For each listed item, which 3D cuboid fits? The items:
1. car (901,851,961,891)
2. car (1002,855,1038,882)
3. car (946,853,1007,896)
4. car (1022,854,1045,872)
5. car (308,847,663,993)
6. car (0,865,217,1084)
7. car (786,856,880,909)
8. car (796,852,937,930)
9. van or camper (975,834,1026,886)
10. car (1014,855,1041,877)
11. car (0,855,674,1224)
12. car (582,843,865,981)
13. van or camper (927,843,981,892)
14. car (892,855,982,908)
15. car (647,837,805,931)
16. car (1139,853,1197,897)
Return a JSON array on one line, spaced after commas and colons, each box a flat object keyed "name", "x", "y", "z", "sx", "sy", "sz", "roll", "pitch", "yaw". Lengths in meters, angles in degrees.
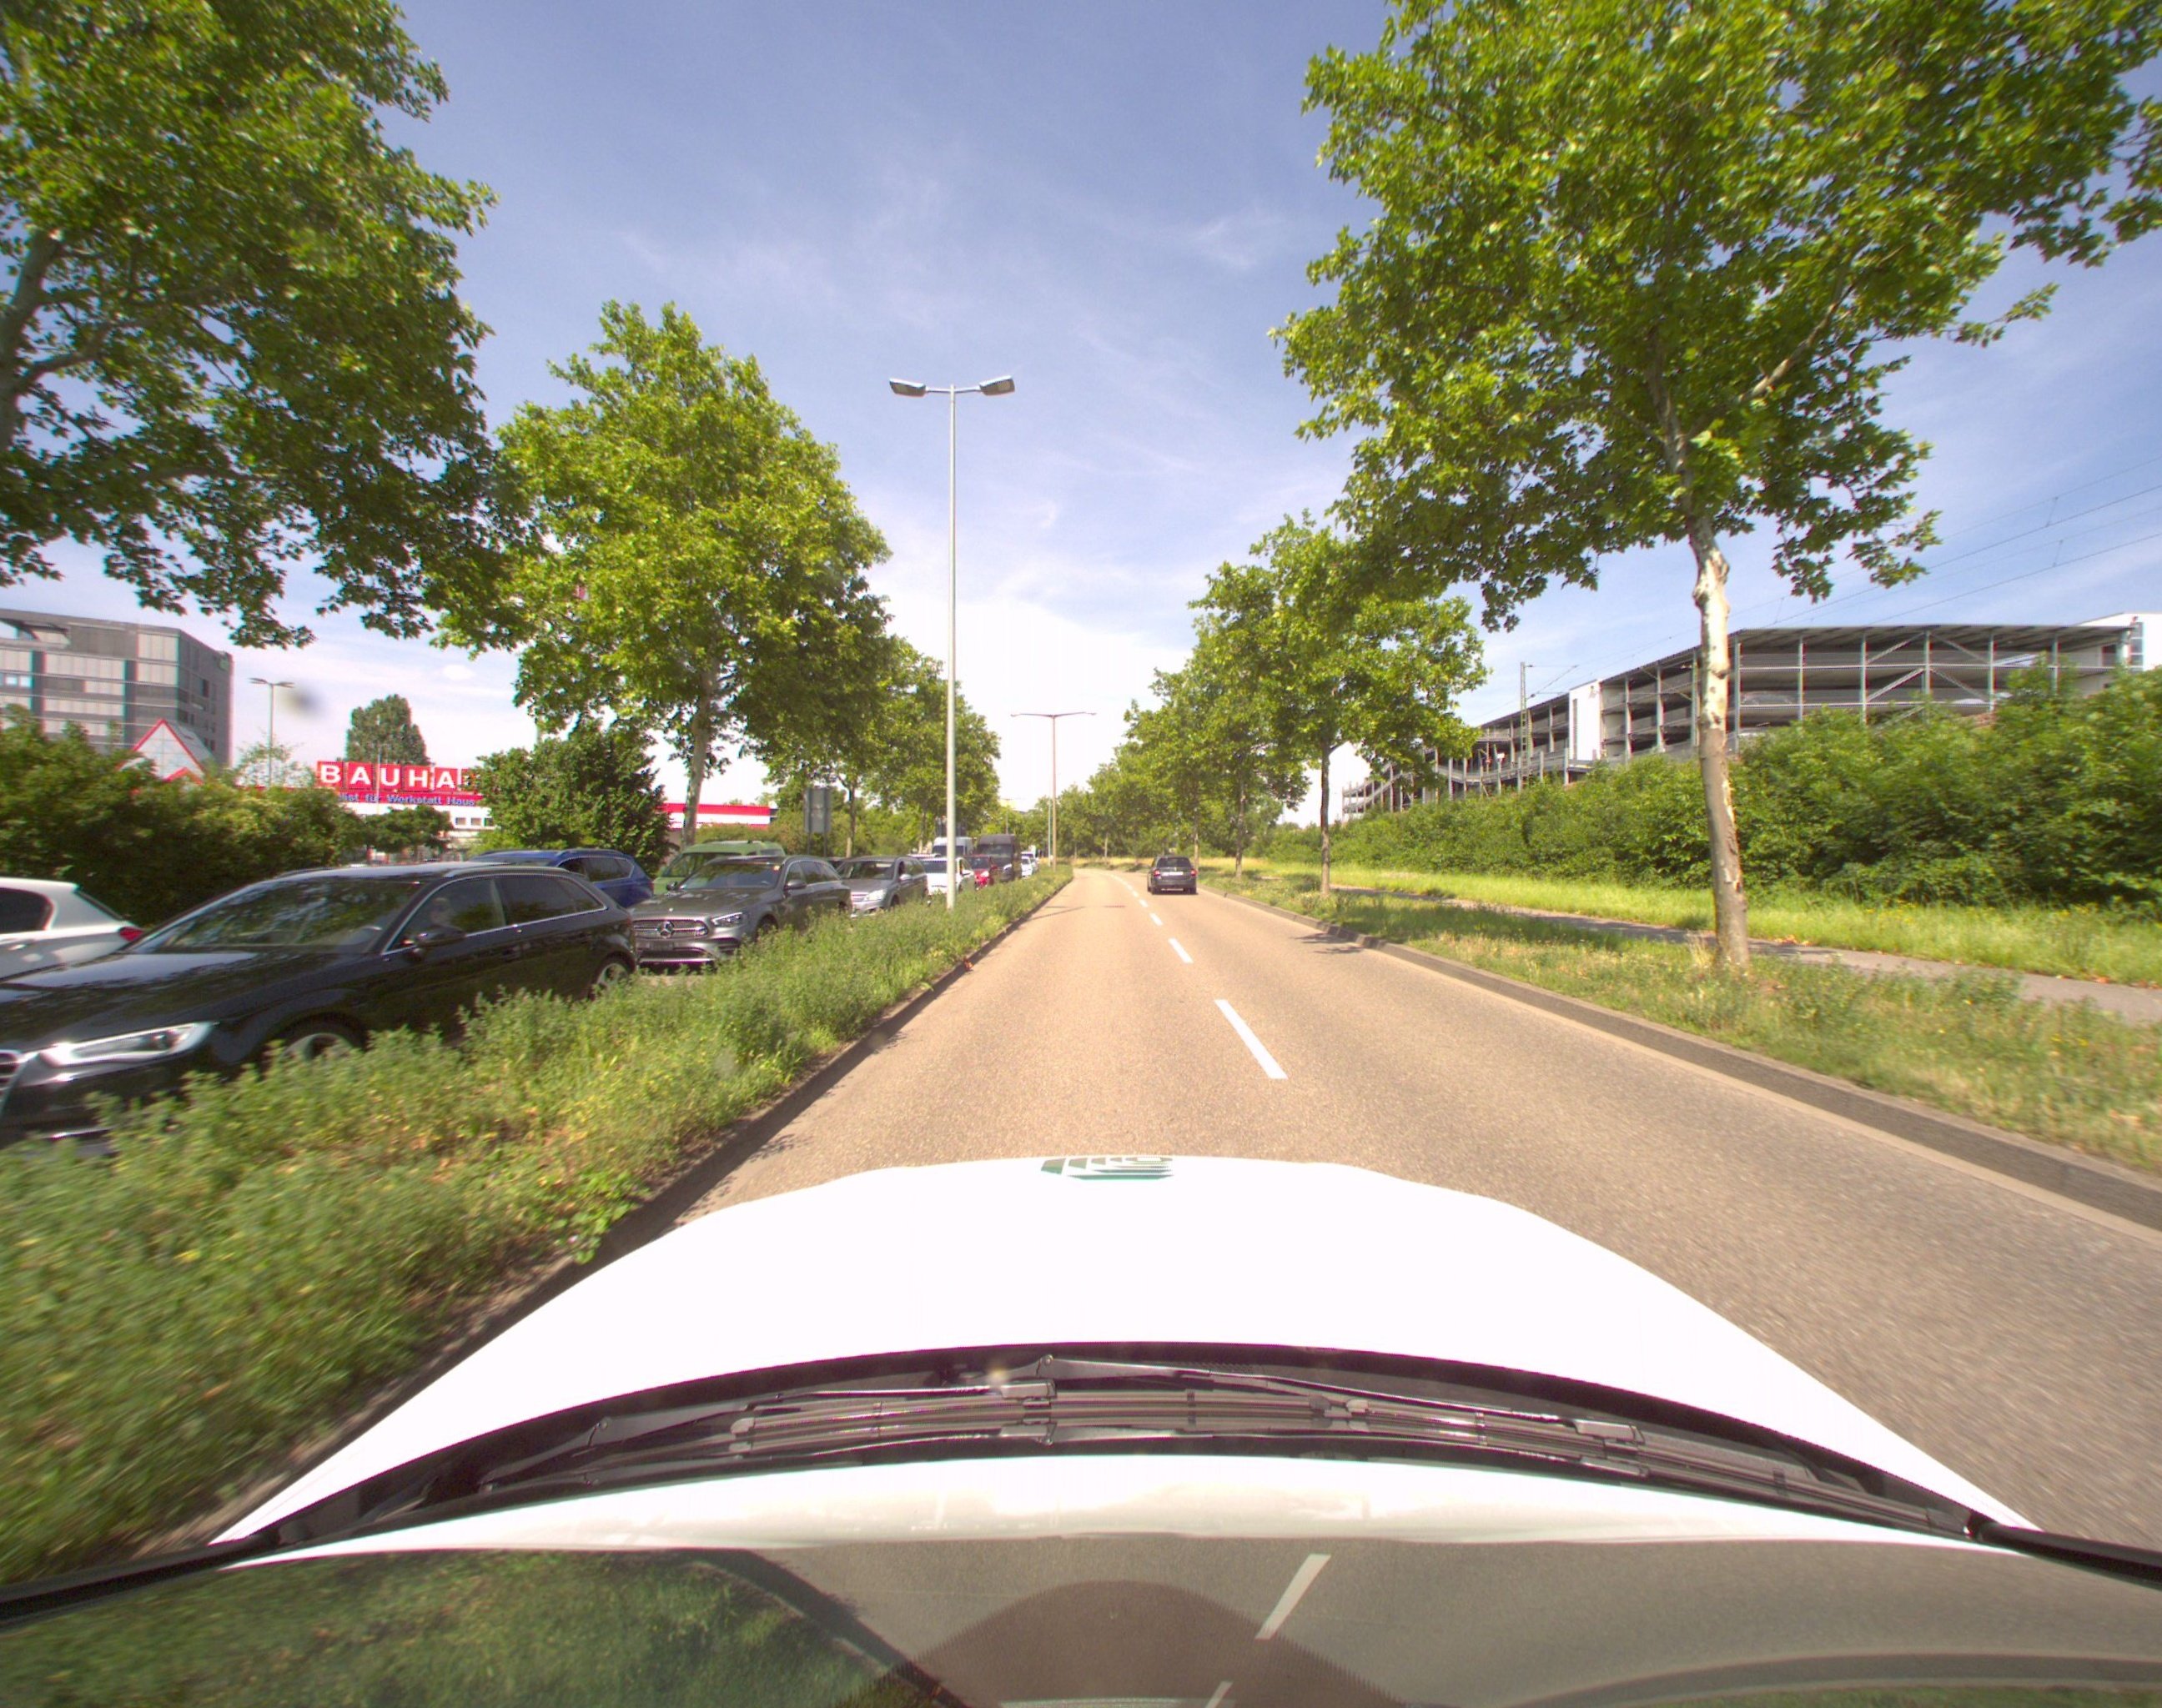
[{"name": "car", "x": -7.019, "y": 0.766, "z": 38.430, "sx": 1.986, "sy": 1.756, "sz": 4.001, "roll": -1, "pitch": 0, "yaw": 1}, {"name": "car", "x": -3.530, "y": 0.839, "z": 47.672, "sx": 1.682, "sy": 1.530, "sz": 3.816, "roll": -1, "pitch": -1, "yaw": 2}, {"name": "car", "x": -3.916, "y": 0.741, "z": 31.021, "sx": 1.682, "sy": 1.510, "sz": 3.816, "roll": -1, "pitch": 0, "yaw": 2}, {"name": "car", "x": -4.129, "y": 0.748, "z": 71.710, "sx": 1.682, "sy": 1.530, "sz": 3.816, "roll": -1, "pitch": 0, "yaw": 2}, {"name": "car", "x": -7.863, "y": 0.743, "z": 11.388, "sx": 1.682, "sy": 1.631, "sz": 4.313, "roll": -1, "pitch": 0, "yaw": 2}, {"name": "car", "x": -8.154, "y": 0.830, "z": 4.598, "sx": 1.725, "sy": 1.451, "sz": 4.430, "roll": -1, "pitch": 0, "yaw": 2}, {"name": "car", "x": -7.761, "y": 0.850, "z": 25.849, "sx": 1.682, "sy": 1.530, "sz": 3.816, "roll": -1, "pitch": 0, "yaw": 2}, {"name": "car", "x": -4.675, "y": 0.737, "z": 18.542, "sx": 1.806, "sy": 1.530, "sz": 4.644, "roll": -1, "pitch": 0, "yaw": 2}, {"name": "van or camper", "x": -3.903, "y": 0.302, "z": 40.189, "sx": 1.932, "sy": 2.369, "sz": 5.397, "roll": -1, "pitch": -1, "yaw": 0}, {"name": "car", "x": -3.943, "y": 0.884, "z": 60.529, "sx": 1.682, "sy": 1.530, "sz": 3.816, "roll": -1, "pitch": -1, "yaw": 2}, {"name": "car", "x": -4.804, "y": 0.757, "z": 5.496, "sx": 1.817, "sy": 1.465, "sz": 4.450, "roll": -1, "pitch": 0, "yaw": 0}, {"name": "car", "x": -4.876, "y": 0.680, "z": 12.085, "sx": 1.840, "sy": 1.607, "sz": 5.010, "roll": -1, "pitch": 0, "yaw": 2}, {"name": "van or camper", "x": -7.024, "y": 0.714, "z": 45.672, "sx": 2.007, "sy": 2.587, "sz": 5.519, "roll": -1, "pitch": 0, "yaw": 2}, {"name": "car", "x": -4.227, "y": 0.757, "z": 24.612, "sx": 1.777, "sy": 1.459, "sz": 4.474, "roll": 0, "pitch": 0, "yaw": 2}, {"name": "car", "x": -7.808, "y": 0.623, "z": 18.346, "sx": 1.682, "sy": 1.858, "sz": 4.038, "roll": -1, "pitch": -1, "yaw": 2}, {"name": "car", "x": 3.258, "y": 0.751, "z": 31.205, "sx": 1.669, "sy": 1.453, "sz": 4.034, "roll": 3, "pitch": 0, "yaw": -1}]
